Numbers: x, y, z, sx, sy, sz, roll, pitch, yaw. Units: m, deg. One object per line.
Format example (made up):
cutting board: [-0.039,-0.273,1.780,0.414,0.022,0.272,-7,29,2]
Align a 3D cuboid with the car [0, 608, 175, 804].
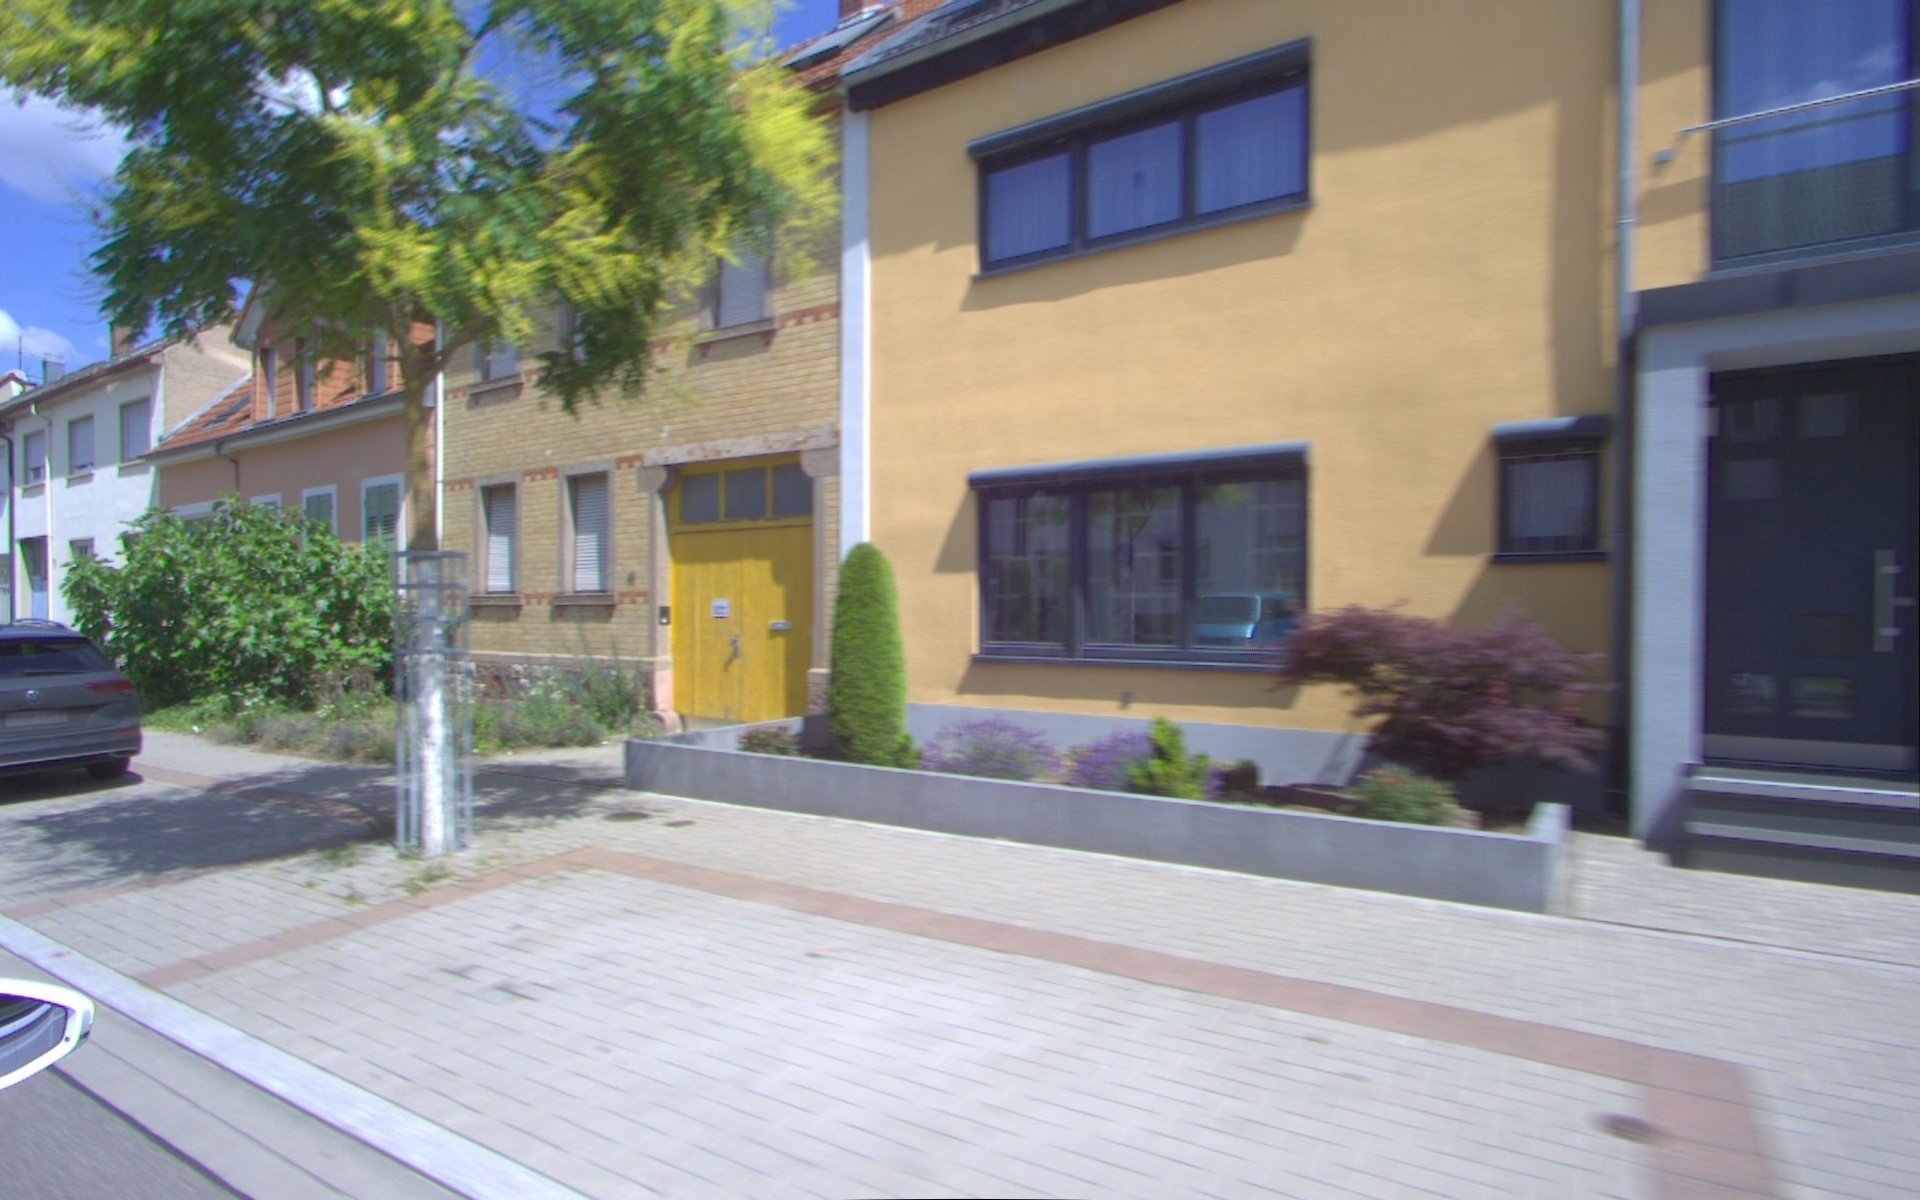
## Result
car: [-9.135,0.851,9.113,4.234,1.508,1.763,-1,0,32]
